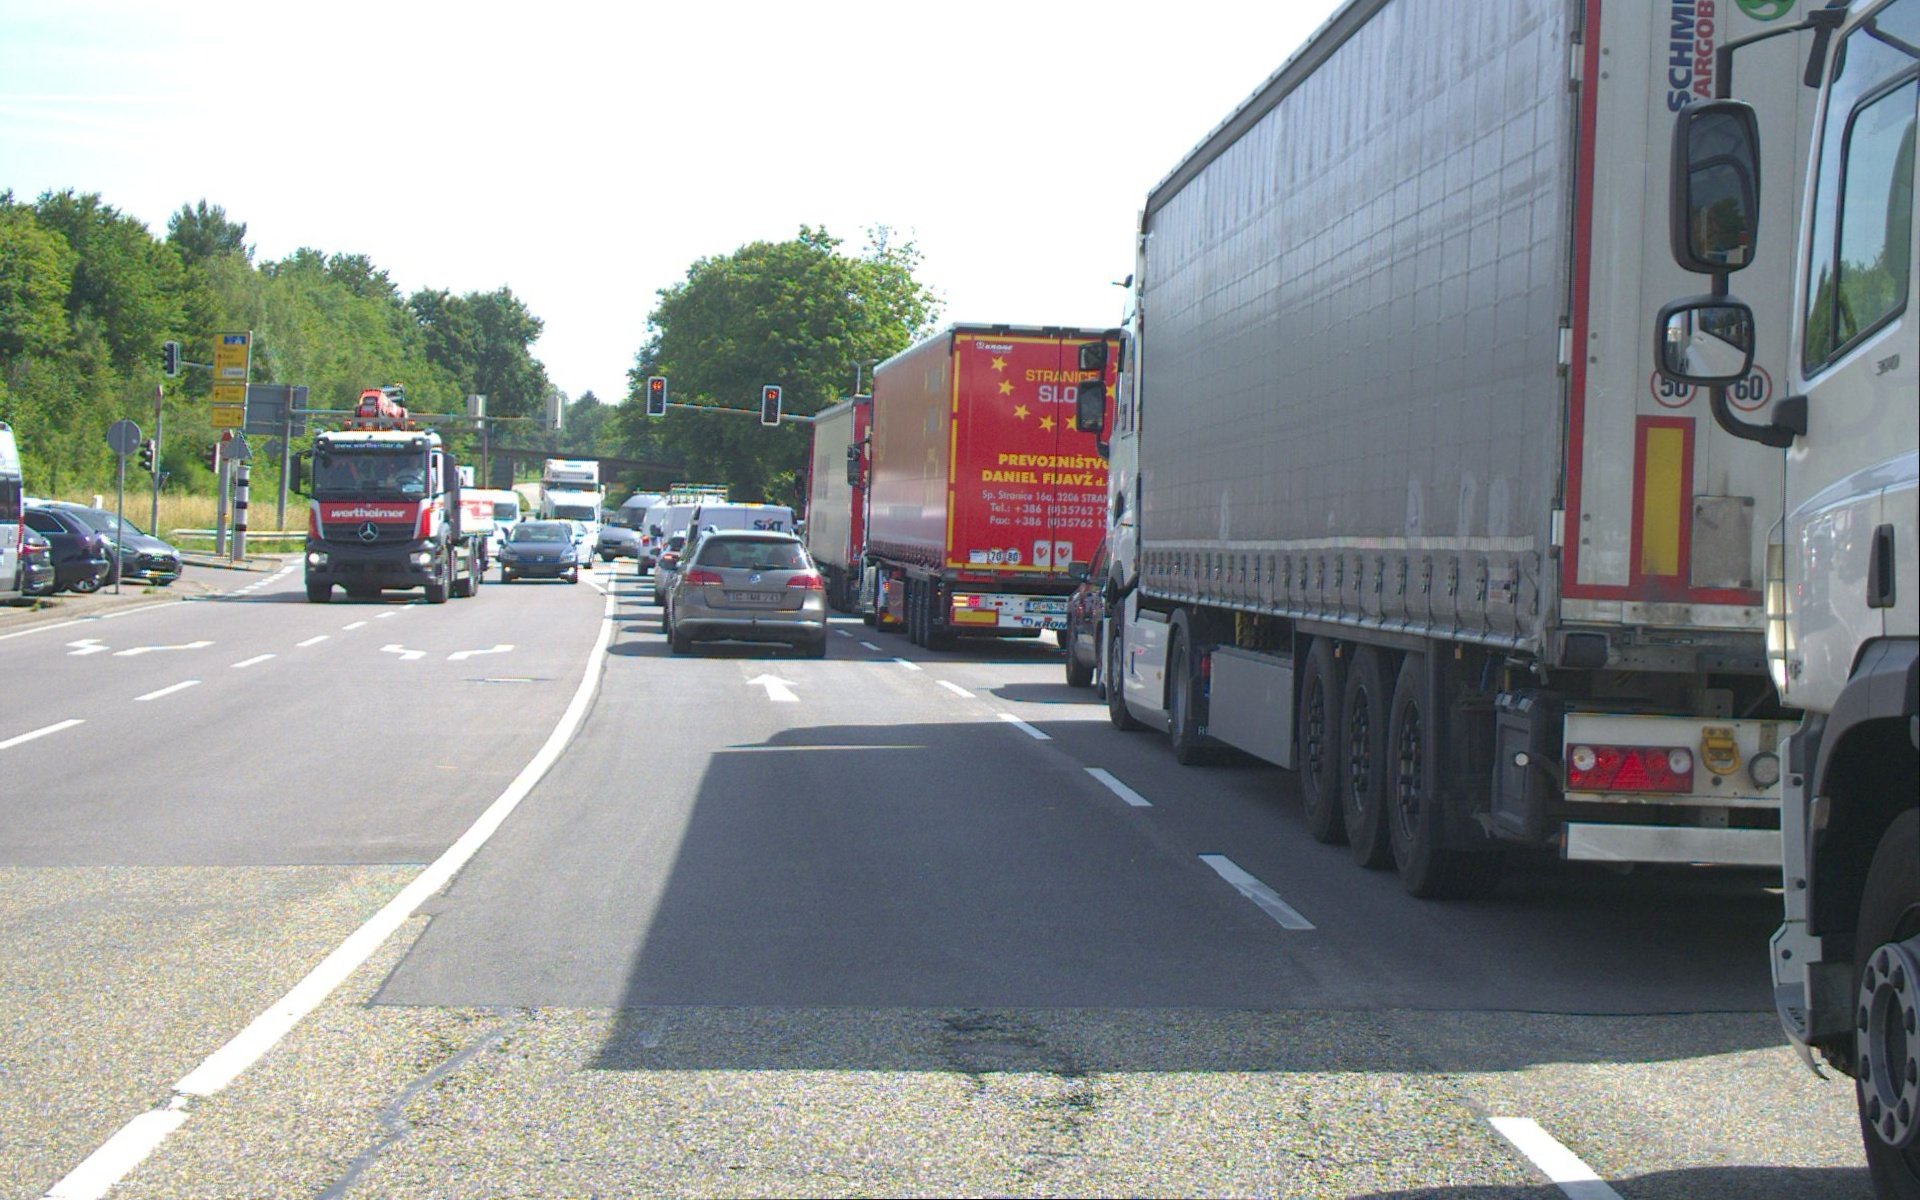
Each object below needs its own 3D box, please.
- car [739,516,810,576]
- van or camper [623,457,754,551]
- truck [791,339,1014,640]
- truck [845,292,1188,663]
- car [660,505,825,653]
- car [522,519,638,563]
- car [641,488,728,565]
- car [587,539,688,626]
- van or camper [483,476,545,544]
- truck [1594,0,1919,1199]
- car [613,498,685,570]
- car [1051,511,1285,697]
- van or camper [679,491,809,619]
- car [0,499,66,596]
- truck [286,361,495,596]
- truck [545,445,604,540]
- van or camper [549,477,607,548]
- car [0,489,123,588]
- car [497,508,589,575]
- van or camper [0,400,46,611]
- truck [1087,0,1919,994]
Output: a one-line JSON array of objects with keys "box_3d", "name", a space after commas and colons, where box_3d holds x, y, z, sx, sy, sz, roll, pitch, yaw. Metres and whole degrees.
[{"box_3d": [-5.082, -1.463, 93.849, 1.726, 1.514, 3.313, 3, 0, -6], "name": "car"}, {"box_3d": [-9.903, -3.482, 126.011, 2.210, 3.045, 5.895, 4, 0, 21], "name": "van or camper"}, {"box_3d": [-1.440, -2.166, 69.357, 3.062, 5.202, 17.011, 2, 1, -5], "name": "truck"}, {"box_3d": [0.397, -1.643, 48.781, 2.956, 4.255, 16.588, 2, 1, -5], "name": "truck"}, {"box_3d": [-2.508, -0.267, 40.373, 1.790, 1.633, 3.504, 1, 1, -2], "name": "car"}, {"box_3d": [-13.343, -2.064, 120.950, 1.715, 1.443, 4.072, 2, 1, 36], "name": "car"}, {"box_3d": [-5.823, -1.542, 72.824, 1.726, 1.514, 3.313, 2, 0, -4], "name": "car"}, {"box_3d": [-5.987, -0.336, 64.156, 1.726, 1.514, 3.313, 2, 0, -4], "name": "car"}, {"box_3d": [-17.543, -3.544, 135.326, 2.173, 2.542, 4.171, 2, 1, -6], "name": "van or camper"}, {"box_3d": [3.244, -0.366, 3.070, 2.879, 3.798, 11.143, 2, 1, -2], "name": "truck"}, {"box_3d": [-8.572, -1.804, 95.078, 1.727, 1.902, 3.312, 2, 0, -2], "name": "car"}, {"box_3d": [1.971, -0.013, 33.698, 1.818, 1.679, 4.001, 1, 1, -3], "name": "car"}, {"box_3d": [-3.472, -0.736, 54.747, 1.852, 1.899, 3.785, 2, 1, -6], "name": "van or camper"}, {"box_3d": [-15.807, -0.850, 52.652, 3.816, 1.443, 1.843, 1, 1, -6], "name": "car"}, {"box_3d": [-10.894, -2.301, 66.783, 2.956, 4.194, 10.649, 0, 1, -4], "name": "truck"}, {"box_3d": [-17.998, -5.000, 160.701, 2.552, 4.292, 7.597, 1, 1, -5], "name": "truck"}, {"box_3d": [-16.267, -3.689, 146.495, 2.223, 2.831, 5.712, 2, 0, -5], "name": "van or camper"}, {"box_3d": [-15.619, -1.030, 55.536, 3.816, 1.534, 1.843, 1, 1, -6], "name": "car"}, {"box_3d": [-10.038, -1.426, 82.999, 1.806, 1.554, 4.388, 1, 1, -2], "name": "car"}, {"box_3d": [-15.023, -1.343, 45.478, 5.244, 2.722, 2.211, 2, 1, -4], "name": "van or camper"}, {"box_3d": [2.911, -1.008, 19.542, 2.890, 4.251, 16.712, 2, 1, -3], "name": "truck"}]
